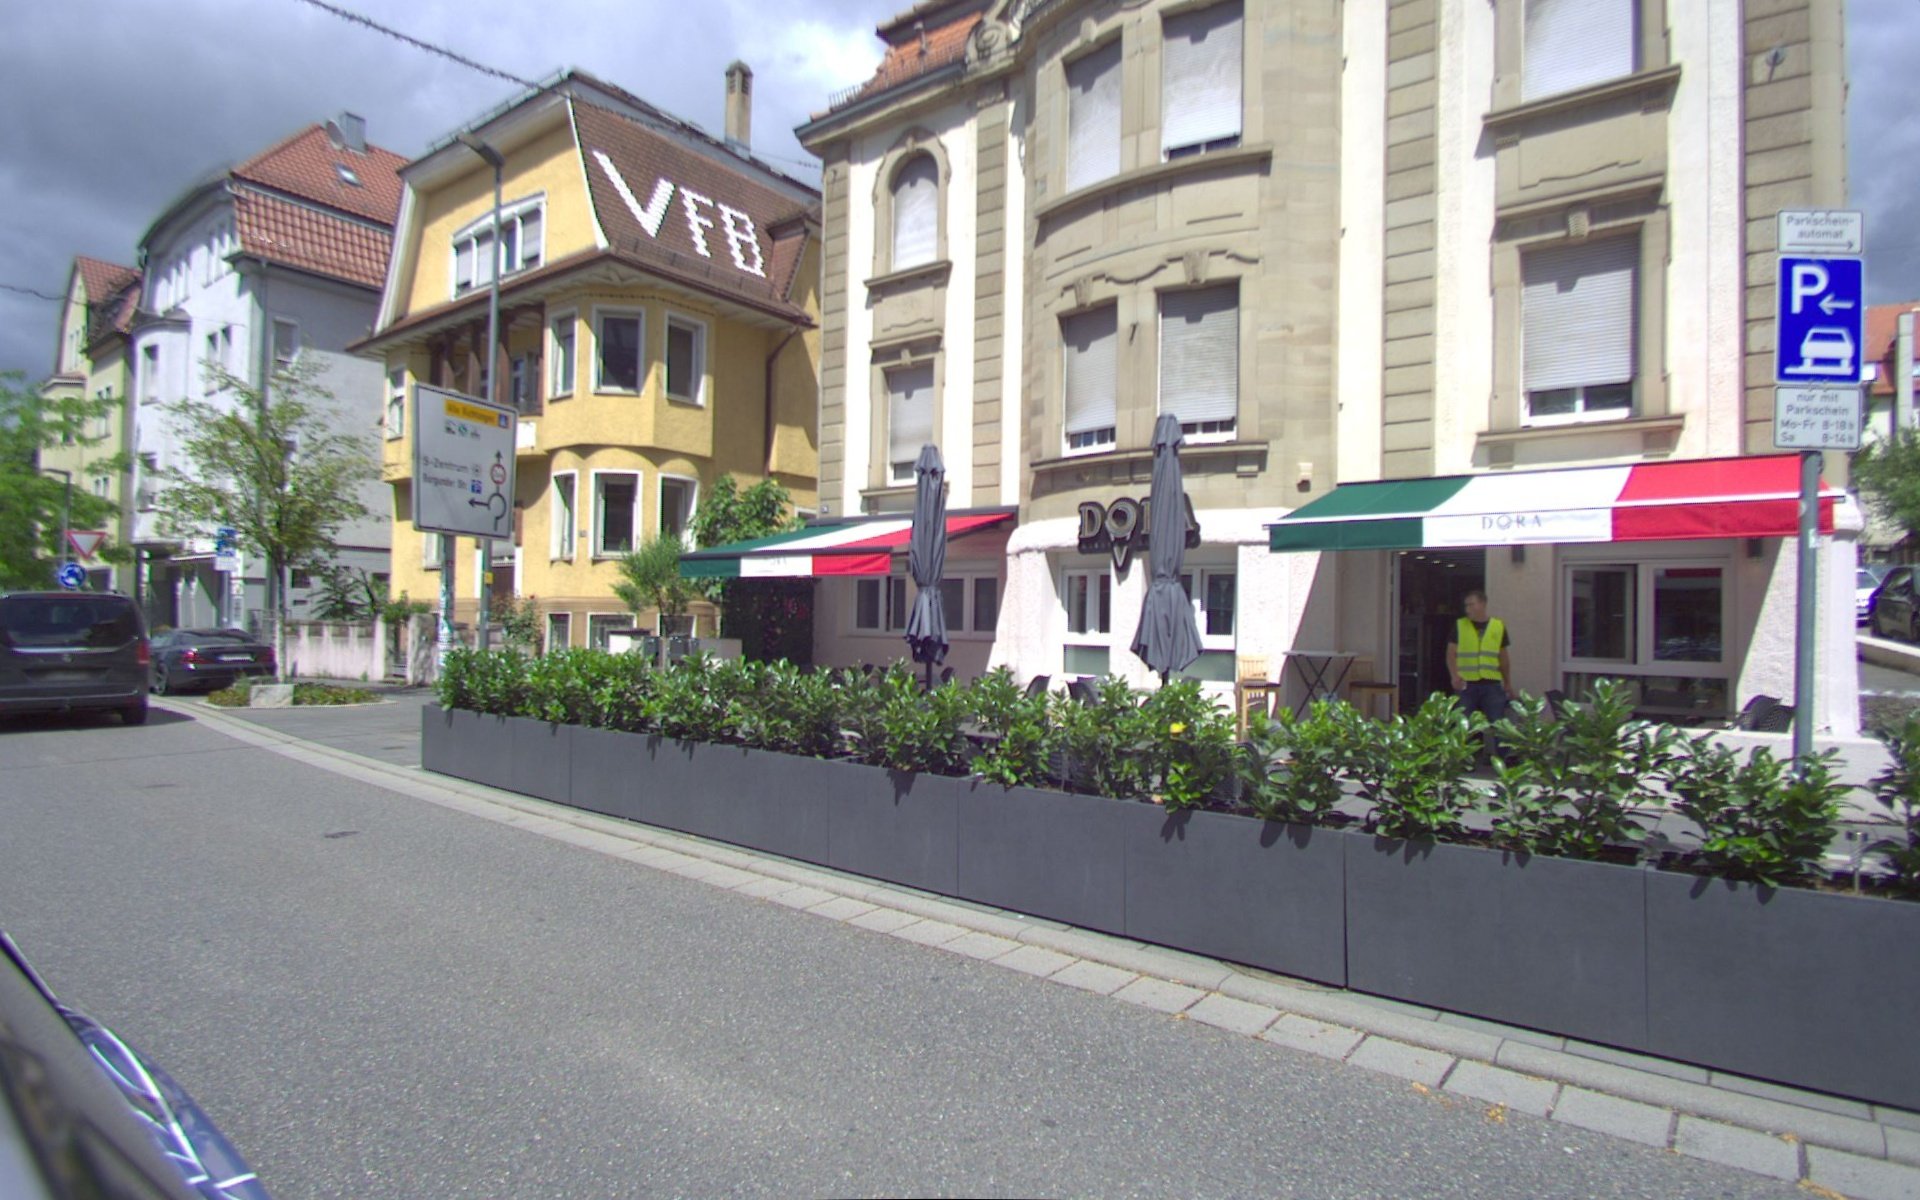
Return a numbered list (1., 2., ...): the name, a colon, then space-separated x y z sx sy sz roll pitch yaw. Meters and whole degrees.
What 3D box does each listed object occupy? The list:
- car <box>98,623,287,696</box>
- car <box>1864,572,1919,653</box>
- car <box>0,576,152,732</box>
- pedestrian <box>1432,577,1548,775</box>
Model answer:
1. car: -15.471 1.157 20.337 4.455 1.314 1.703 -2 -2 34
2. car: 19.876 0.222 20.156 1.847 1.555 3.962 -1 0 28
3. car: -13.573 0.753 14.751 5.172 1.948 1.852 -2 -3 40
4. pedestrian: 4.987 0.682 9.571 0.793 1.770 0.809 0 0 14
